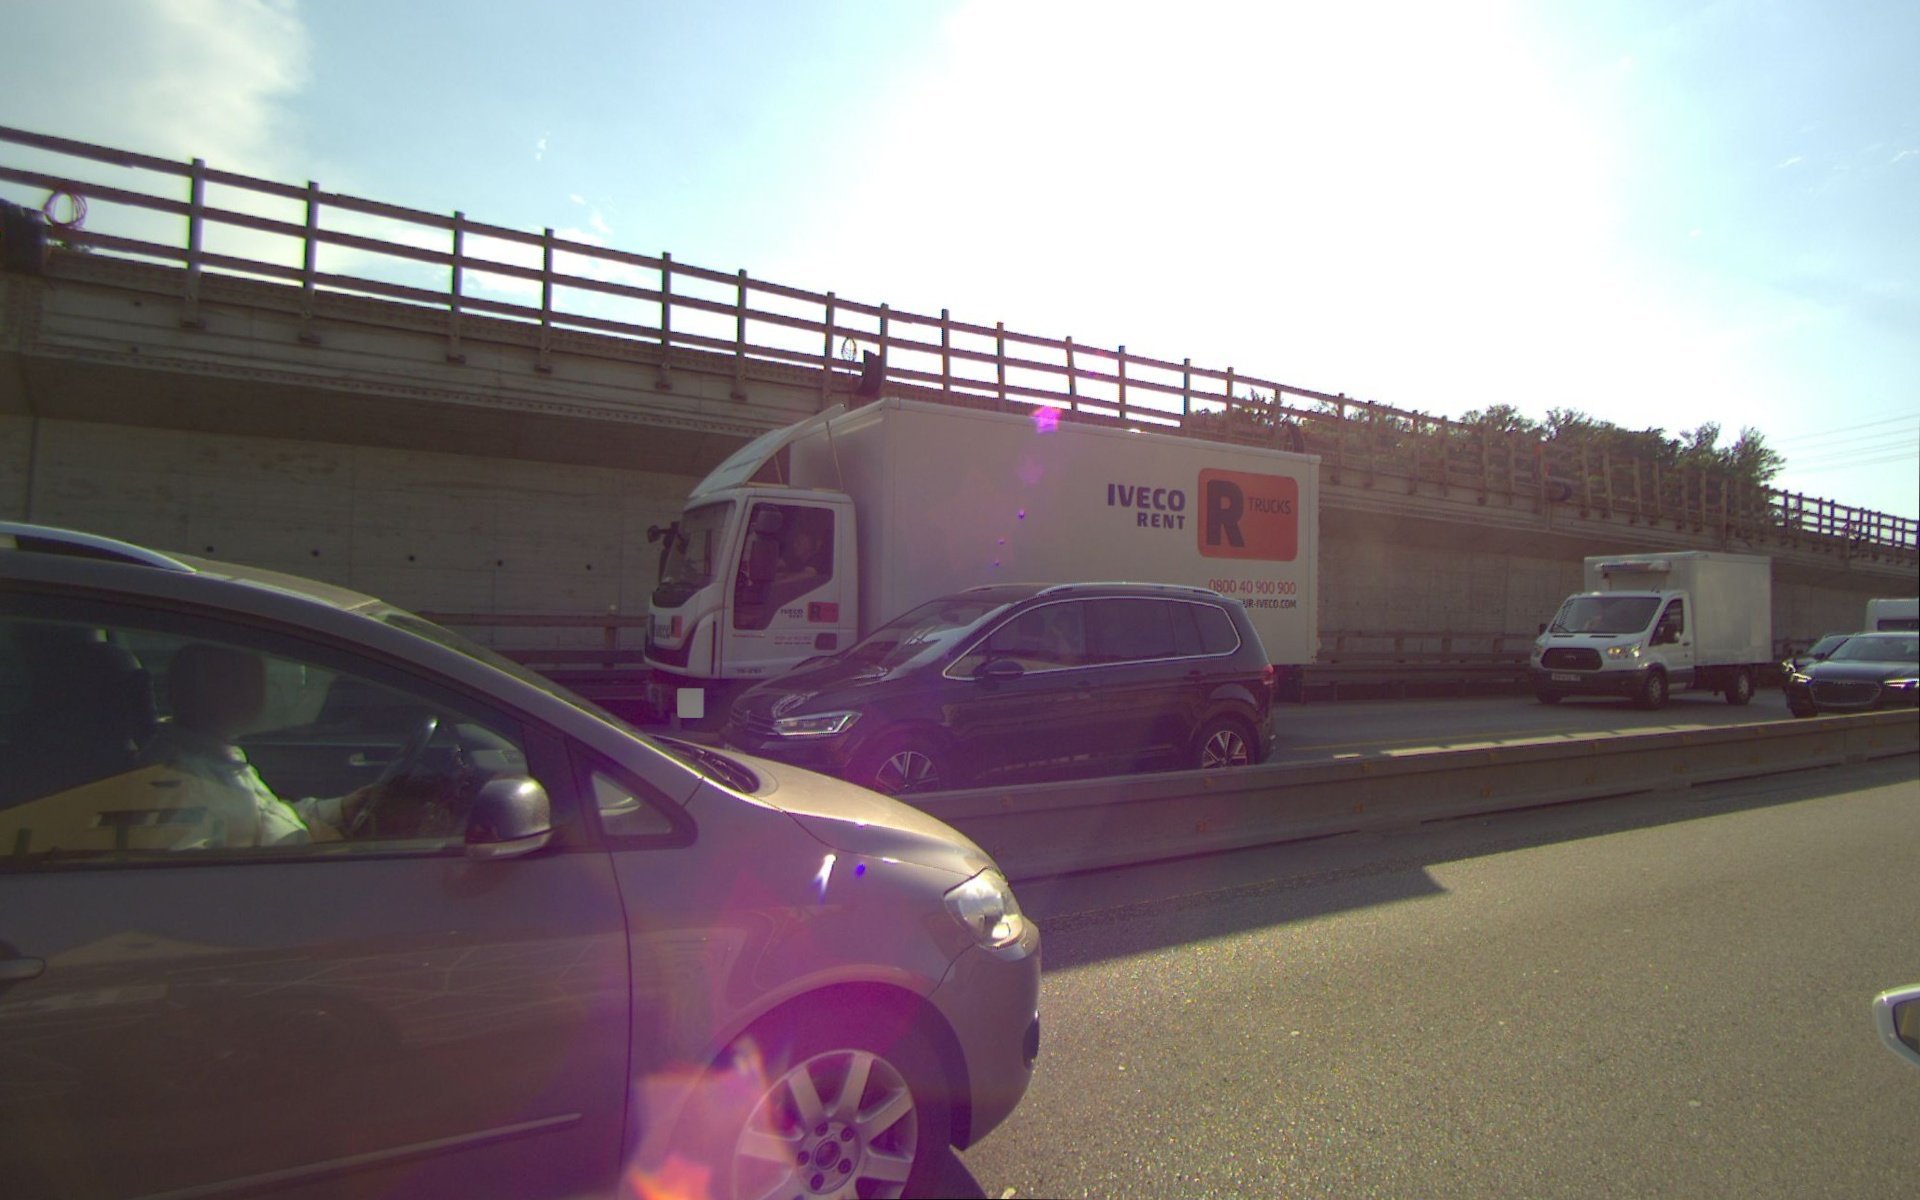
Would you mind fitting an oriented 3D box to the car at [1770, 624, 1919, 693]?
[{"bbox_3d":[22.030,1.419,24.793,4.728,1.551,1.633,2,-2,-31],"label":"car"}]

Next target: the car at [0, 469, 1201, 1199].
[{"bbox_3d":[-1.616,0.641,2.225,4.221,1.609,1.673,1,-2,-30],"label":"car"}]

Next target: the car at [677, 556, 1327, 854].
[{"bbox_3d":[0.443,0.660,7.586,4.635,1.667,1.823,3,0,-31],"label":"car"}]

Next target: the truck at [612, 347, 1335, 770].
[{"bbox_3d":[0.512,-0.148,11.478,8.049,3.469,2.701,3,-3,-31],"label":"truck"}]

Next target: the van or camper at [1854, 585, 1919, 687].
[{"bbox_3d":[27.990,1.026,28.331,6.379,2.698,2.301,2,-2,-30],"label":"van or camper"}]

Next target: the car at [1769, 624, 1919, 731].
[{"bbox_3d":[15.250,1.178,16.393,4.407,1.470,1.755,1,1,-31],"label":"car"}]

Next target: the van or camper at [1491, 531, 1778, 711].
[{"bbox_3d":[13.219,0.493,19.546,6.154,3.028,2.307,3,-2,-32],"label":"van or camper"}]
